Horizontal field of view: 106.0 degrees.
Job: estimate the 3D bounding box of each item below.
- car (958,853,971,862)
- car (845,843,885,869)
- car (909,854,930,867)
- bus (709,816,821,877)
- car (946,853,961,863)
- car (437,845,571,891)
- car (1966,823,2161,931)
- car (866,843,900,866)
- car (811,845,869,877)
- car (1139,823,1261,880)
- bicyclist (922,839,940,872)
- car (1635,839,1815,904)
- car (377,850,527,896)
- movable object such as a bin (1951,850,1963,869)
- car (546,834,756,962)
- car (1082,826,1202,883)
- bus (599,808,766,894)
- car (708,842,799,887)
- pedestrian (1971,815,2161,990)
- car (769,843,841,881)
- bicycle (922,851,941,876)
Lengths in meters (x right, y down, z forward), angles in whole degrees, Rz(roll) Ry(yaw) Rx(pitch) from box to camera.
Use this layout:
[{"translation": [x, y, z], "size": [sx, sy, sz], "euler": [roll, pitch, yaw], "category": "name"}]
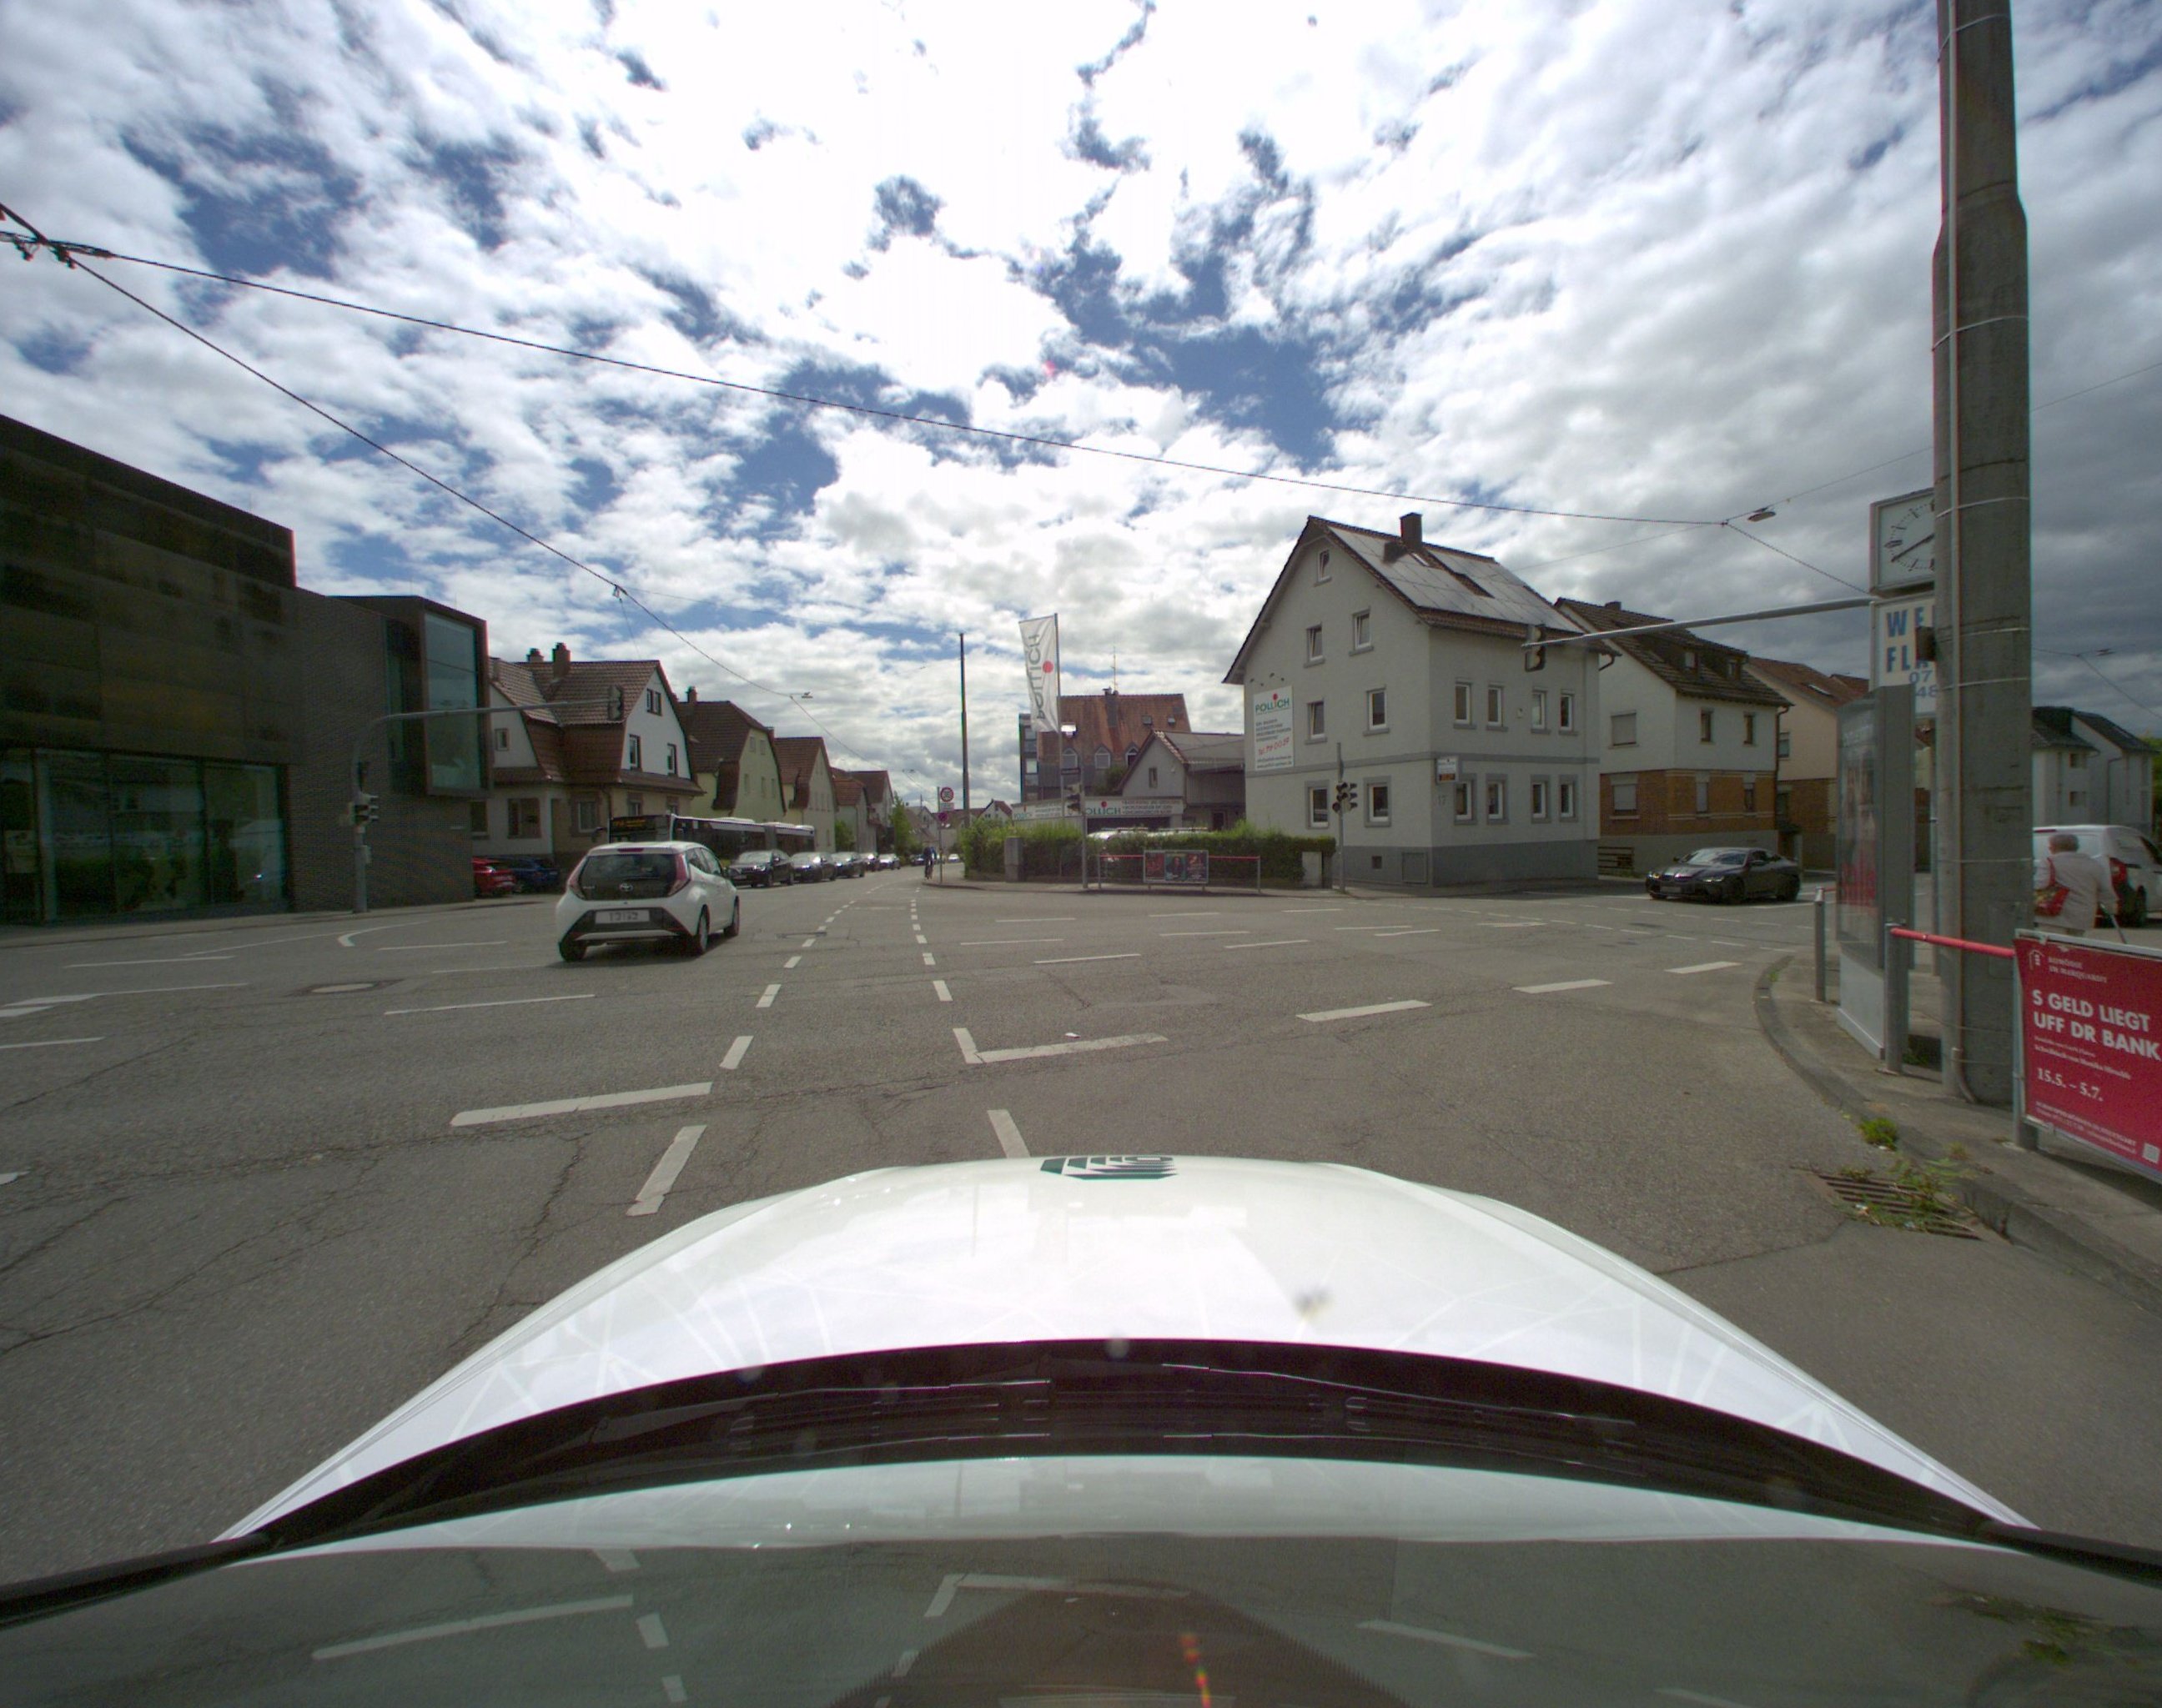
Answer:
[{"translation": [-21.860, 0.712, 152.961], "size": [1.988, 1.640, 3.999], "euler": [0, 1, -1], "category": "car"}, {"translation": [-17.224, 0.119, 65.228], "size": [1.986, 2.013, 4.002], "euler": [0, 1, 2], "category": "car"}, {"translation": [-20.666, 0.816, 104.532], "size": [1.988, 1.640, 3.999], "euler": [0, 1, -1], "category": "car"}, {"translation": [-16.575, -0.429, 43.530], "size": [2.771, 2.914, 9.182], "euler": [0, 1, -3], "category": "bus"}, {"translation": [-22.316, 0.730, 142.939], "size": [1.988, 1.640, 3.999], "euler": [0, 1, -1], "category": "car"}, {"translation": [-23.695, 0.557, 33.574], "size": [3.981, 1.684, 1.997], "euler": [2, 0, -6], "category": "car"}, {"translation": [18.905, 0.333, 15.367], "size": [4.501, 1.794, 1.900], "euler": [-1, 1, -28], "category": "car"}, {"translation": [-17.551, 0.014, 72.316], "size": [1.987, 2.013, 3.999], "euler": [0, 1, -1], "category": "car"}, {"translation": [-13.122, 0.329, 44.619], "size": [1.988, 1.640, 3.999], "euler": [0, 1, -1], "category": "car"}, {"translation": [4.329, -0.101, 29.562], "size": [4.009, 1.947, 1.982], "euler": [-1, 0, -28], "category": "car"}, {"translation": [-7.472, 0.064, 40.616], "size": [0.841, 1.614, 1.078], "euler": [-1, 1, -12], "category": "bicyclist"}, {"translation": [16.676, 0.369, 21.056], "size": [4.630, 1.456, 1.982], "euler": [-1, 3, -29], "category": "car"}, {"translation": [-23.559, 0.698, 30.645], "size": [3.981, 1.640, 1.997], "euler": [0, 1, -6], "category": "car"}, {"translation": [50.033, 0.314, 46.513], "size": [0.300, 1.128, 0.428], "euler": [-1, 0, -30], "category": "movable object such as a bin"}, {"translation": [-5.765, 0.494, 11.390], "size": [1.741, 1.460, 3.516], "euler": [-1, 1, -14], "category": "car"}, {"translation": [2.275, -0.016, 30.378], "size": [4.009, 2.013, 1.983], "euler": [-1, 1, -27], "category": "car"}, {"translation": [-16.191, -0.182, 34.047], "size": [2.771, 3.060, 9.182], "euler": [0, 1, -3], "category": "bus"}, {"translation": [-12.851, 0.366, 32.241], "size": [1.988, 1.640, 3.999], "euler": [0, 1, -1], "category": "car"}, {"translation": [9.870, 0.469, 8.184], "size": [0.829, 1.637, 0.876], "euler": [-3, -1, 10], "category": "pedestrian"}, {"translation": [-12.710, 0.336, 37.789], "size": [1.988, 1.640, 4.182], "euler": [0, 1, -1], "category": "car"}, {"translation": [-7.464, 0.449, 40.585], "size": [0.833, 1.164, 2.183], "euler": [-1, 1, -12], "category": "bicycle"}]
